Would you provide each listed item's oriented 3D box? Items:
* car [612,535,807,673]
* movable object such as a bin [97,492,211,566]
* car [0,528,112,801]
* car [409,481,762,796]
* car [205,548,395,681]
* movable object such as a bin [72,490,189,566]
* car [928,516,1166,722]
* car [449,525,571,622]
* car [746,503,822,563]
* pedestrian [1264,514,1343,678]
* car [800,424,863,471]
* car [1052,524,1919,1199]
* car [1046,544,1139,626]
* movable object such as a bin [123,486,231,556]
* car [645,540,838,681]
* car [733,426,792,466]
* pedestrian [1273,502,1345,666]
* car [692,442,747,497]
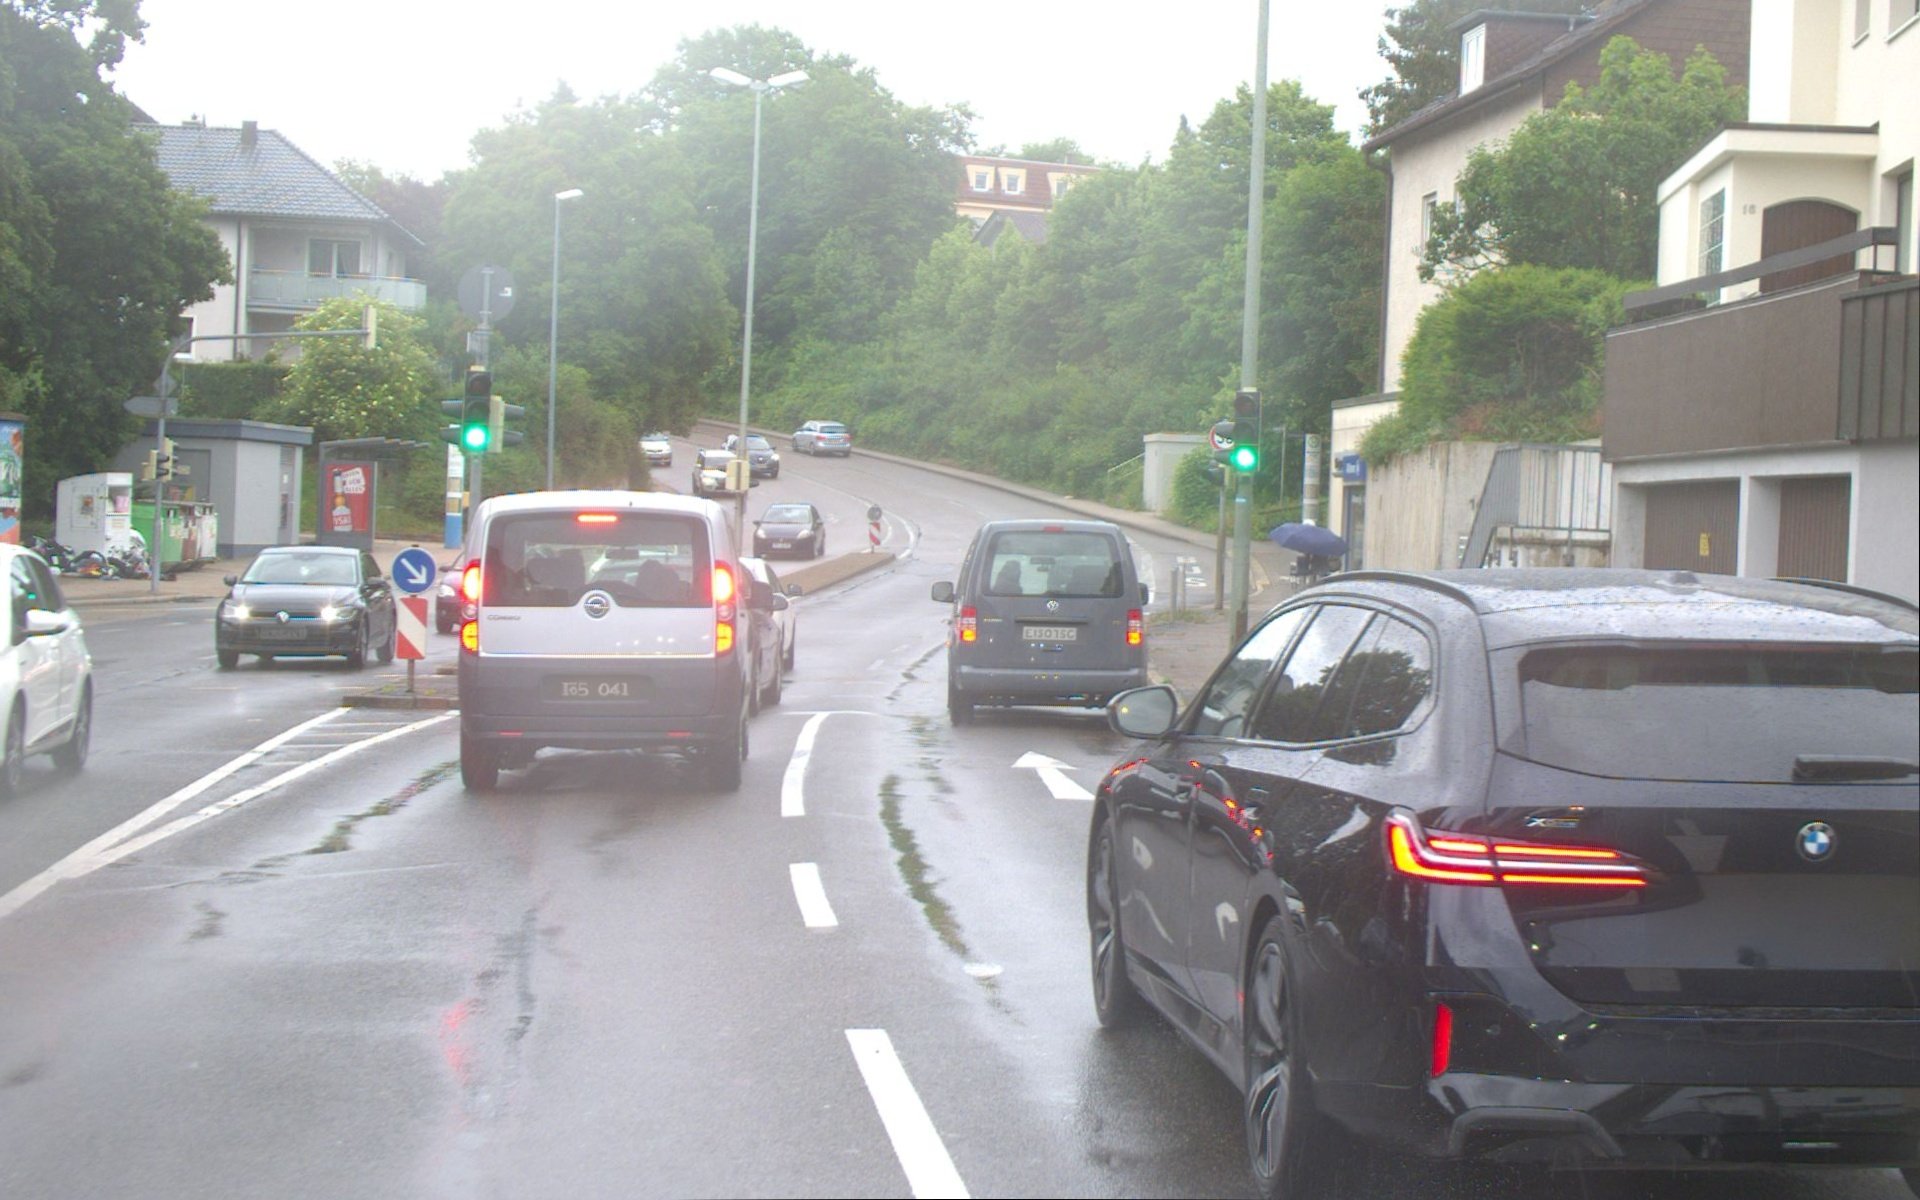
[{"bbox_3d":[-2.953,0.011,41.410,1.908,1.523,4.652,1,1,1],"label":"car"},{"bbox_3d":[-17.979,-1.591,76.757,2.058,1.563,1.581,1,3,6],"label":"movable object such as a bin"},{"bbox_3d":[-6.428,0.319,20.949,1.832,1.525,4.001,1,1,-5],"label":"car"},{"bbox_3d":[-2.375,0.189,22.907,1.951,1.864,4.747,1,1,-2],"label":"car"},{"bbox_3d":[-7.945,0.135,41.661,1.711,1.497,4.001,1,1,-3],"label":"car"},{"bbox_3d":[-18.128,-1.586,75.164,2.058,1.563,1.581,1,3,6],"label":"movable object such as a bin"},{"bbox_3d":[0.725,0.128,31.548,1.993,1.742,4.000,1,1,-1],"label":"car"},{"bbox_3d":[-7.297,-0.459,56.012,1.852,1.459,4.001,1,1,-6],"label":"car"},{"bbox_3d":[-4.839,-1.828,94.444,1.993,1.568,4.000,1,0,-3],"label":"car"},{"bbox_3d":[3.768,-0.048,37.791,0.793,1.774,1.011,0,1,1],"label":"pedestrian"},{"bbox_3d":[-5.888,-6.955,157.165,1.993,2.007,4.001,0,1,-16],"label":"car"},{"bbox_3d":[1.539,0.746,9.470,1.993,1.581,4.663,3,-2,-5],"label":"car"},{"bbox_3d":[2.980,-0.369,78.031,1.851,1.656,4.001,2,2,-1],"label":"car"},{"bbox_3d":[-17.807,-1.805,78.217,2.058,1.509,1.344,1,3,6],"label":"movable object such as a bin"},{"bbox_3d":[-2.428,0.088,39.049,1.835,1.482,4.059,1,1,1],"label":"car"},{"bbox_3d":[-8.190,-6.358,142.281,1.840,1.546,4.385,0,1,-11],"label":"car"},{"bbox_3d":[4.370,-0.203,43.094,0.797,2.007,0.734,2,1,1],"label":"pedestrian"},{"bbox_3d":[-9.204,-4.968,131.722,1.993,2.007,4.001,1,1,-2],"label":"car"}]
